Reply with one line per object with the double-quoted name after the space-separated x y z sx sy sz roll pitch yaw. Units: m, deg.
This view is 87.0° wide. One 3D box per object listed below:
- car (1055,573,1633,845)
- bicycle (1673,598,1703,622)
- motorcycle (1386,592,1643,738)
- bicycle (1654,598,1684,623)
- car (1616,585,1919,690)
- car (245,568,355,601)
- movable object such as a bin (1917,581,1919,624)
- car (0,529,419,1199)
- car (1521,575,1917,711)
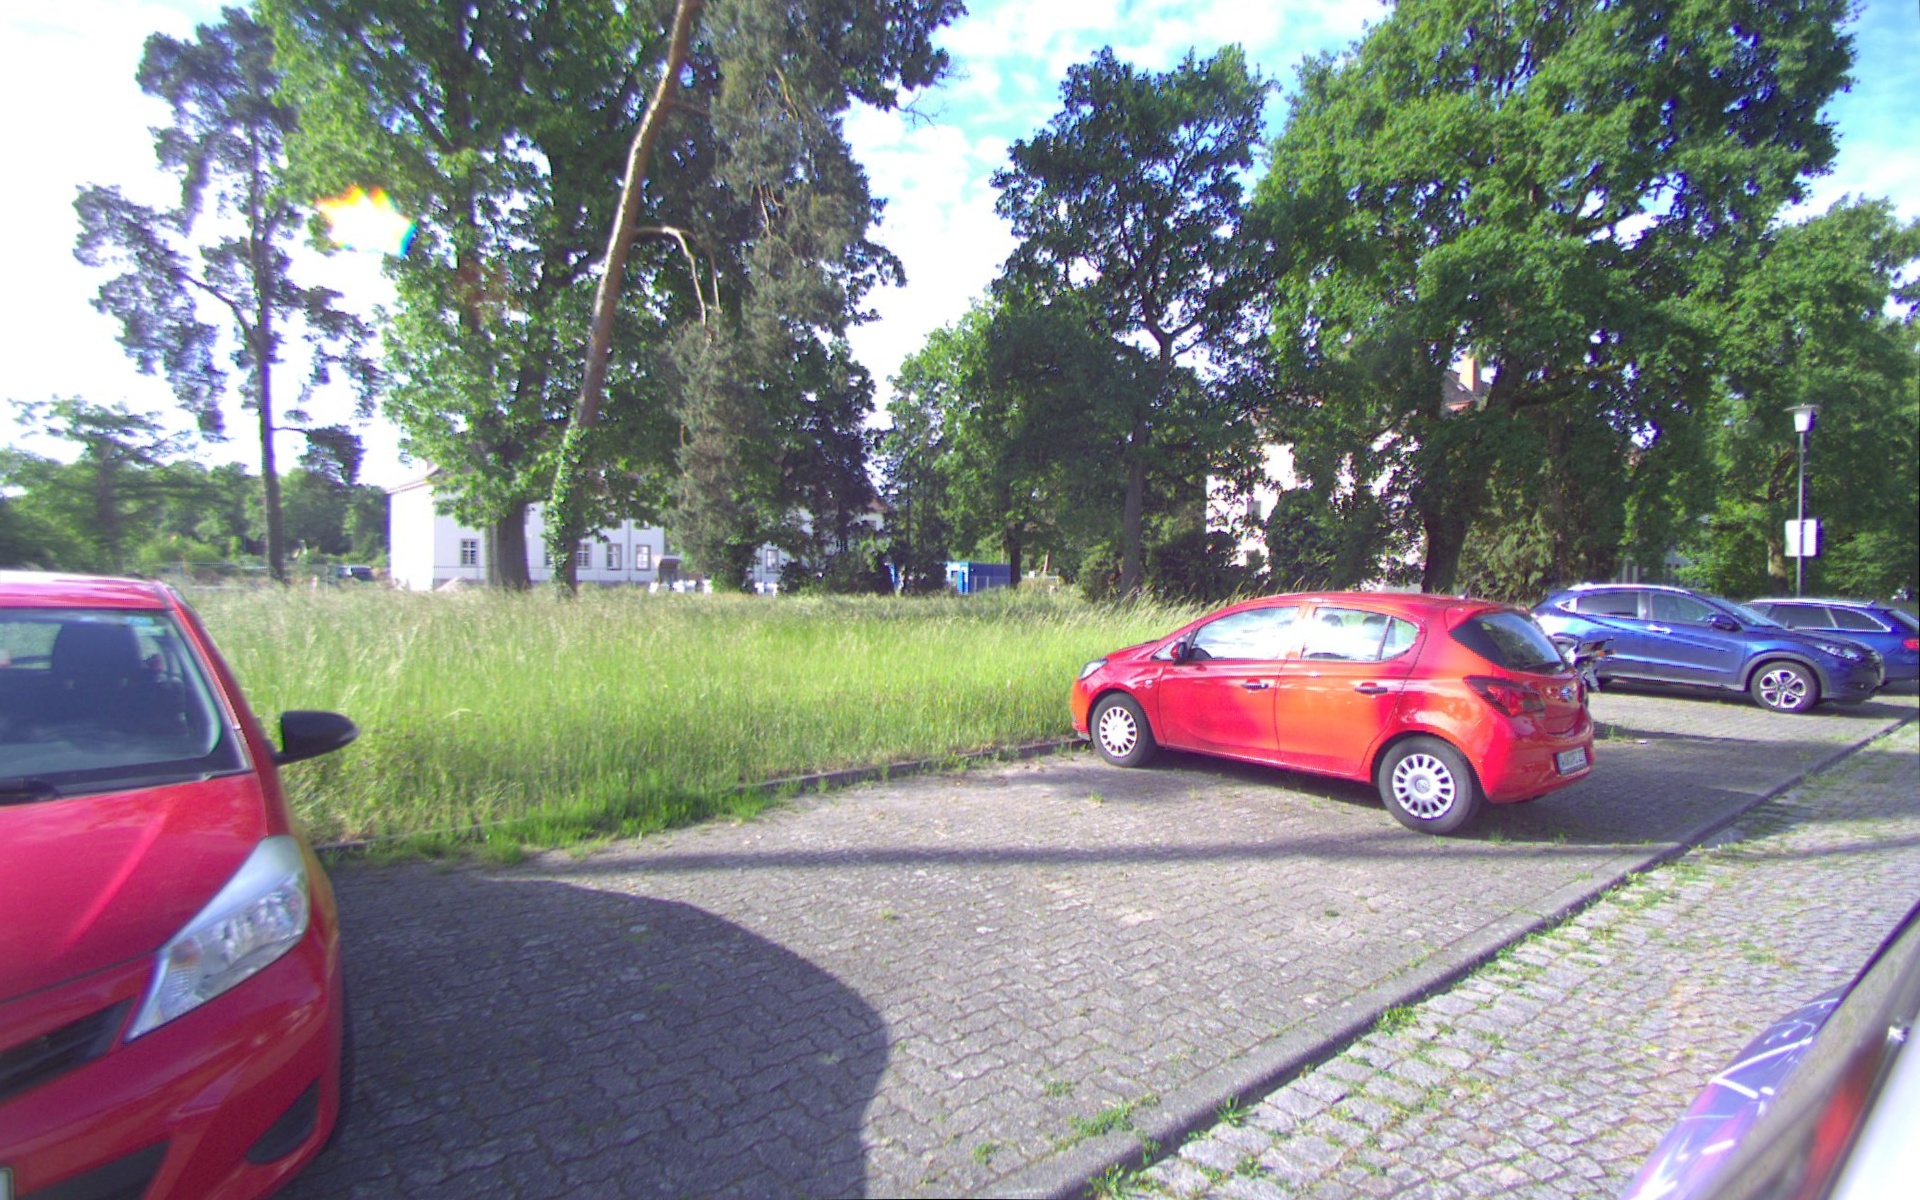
2.689 0.583 7.783 1.617 1.497 3.834 0 2 -41 "car"
32.905 0.448 45.746 0.700 1.029 1.024 1 1 12 "bicycle"
5.898 0.624 10.918 0.713 1.336 2.304 0 2 -40 "motorcycle"
30.032 0.448 42.875 1.007 1.029 0.711 0 1 -33 "bicycle"
13.998 0.550 17.193 1.682 1.425 4.463 0 3 -37 "car"
-45.621 -1.065 70.086 5.890 2.198 2.380 -1 1 -10 "car"
41.160 0.162 39.644 1.959 1.781 4.949 0 1 -25 "movable object such as a bin"
-2.948 0.612 3.046 1.616 1.549 3.771 0 1 -40 "car"
10.472 0.466 14.234 1.721 1.611 4.185 0 1 -40 "car"
